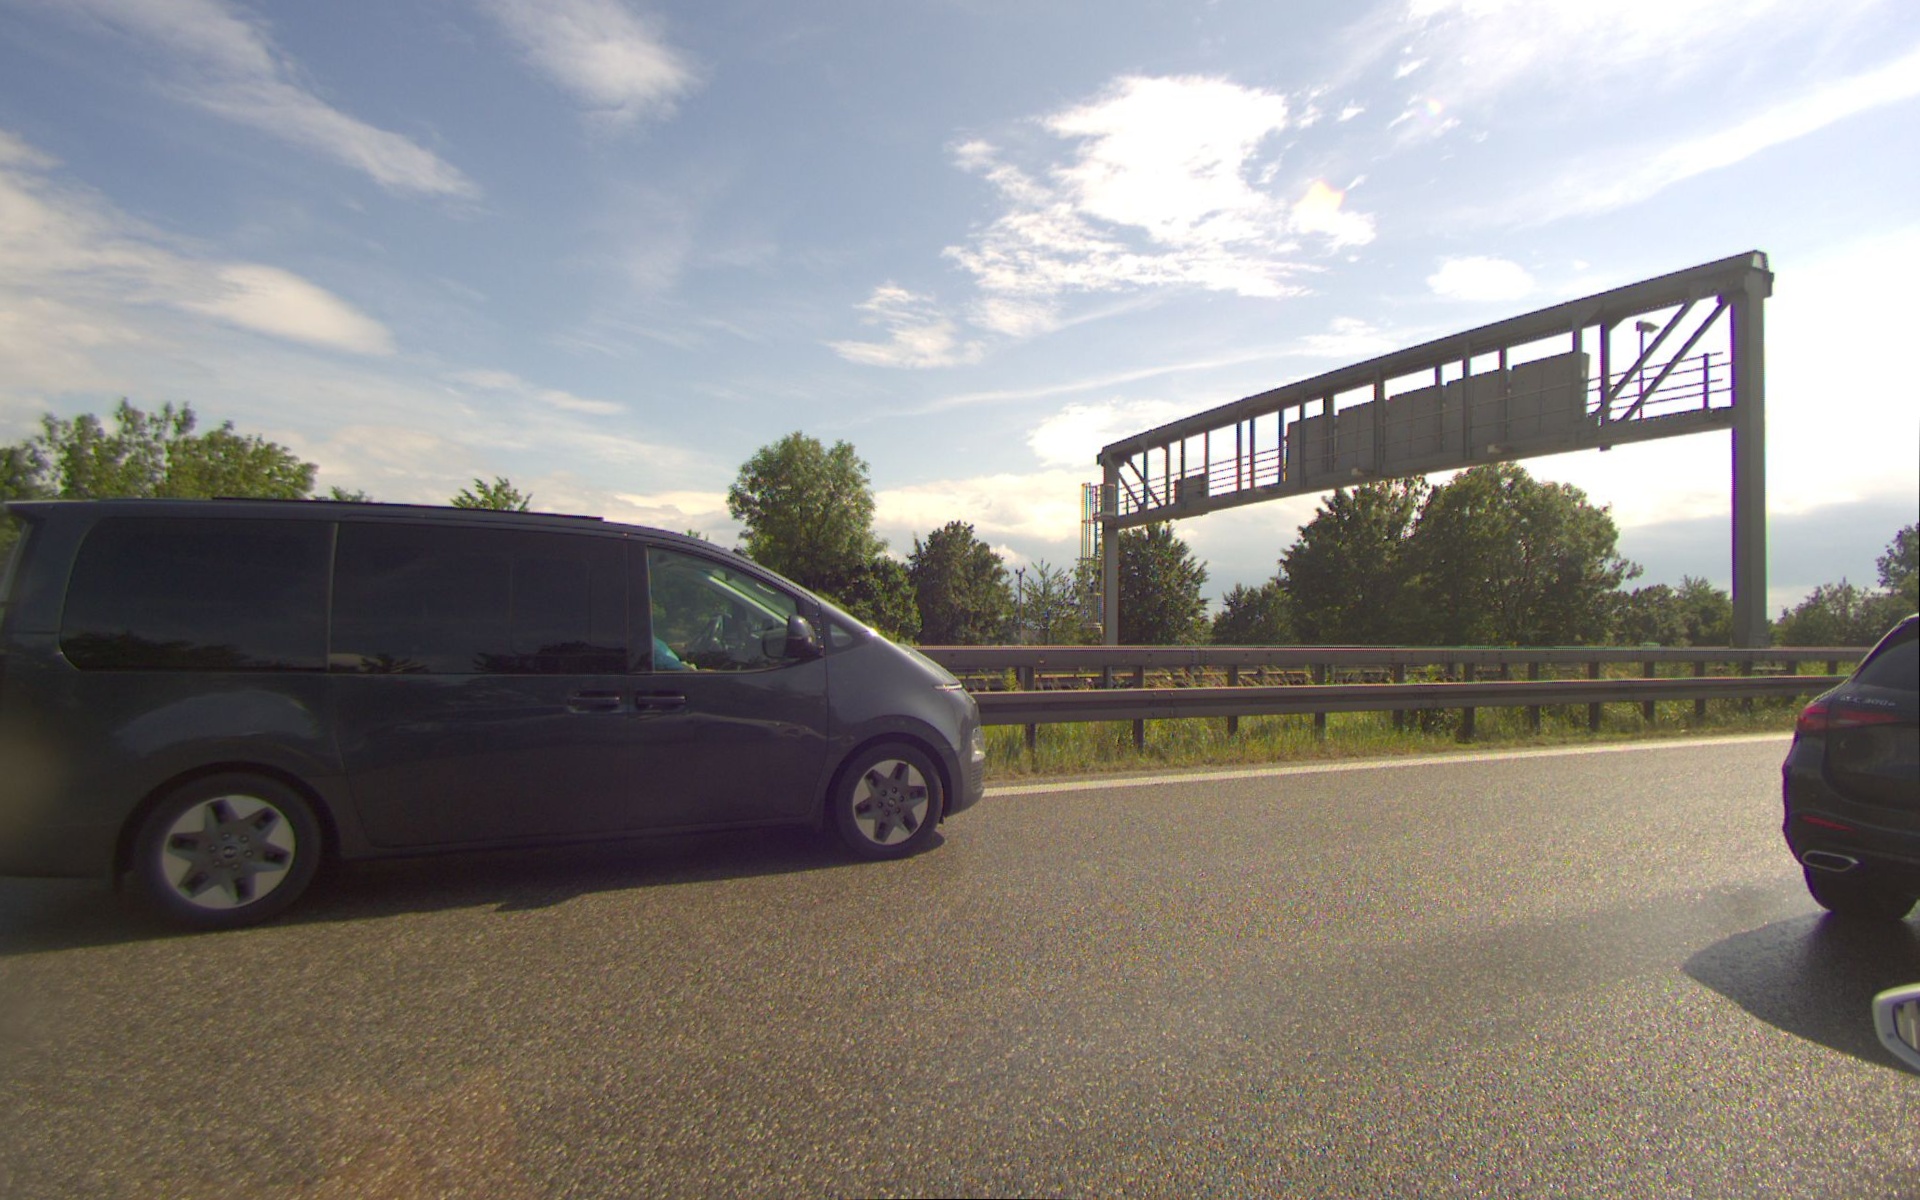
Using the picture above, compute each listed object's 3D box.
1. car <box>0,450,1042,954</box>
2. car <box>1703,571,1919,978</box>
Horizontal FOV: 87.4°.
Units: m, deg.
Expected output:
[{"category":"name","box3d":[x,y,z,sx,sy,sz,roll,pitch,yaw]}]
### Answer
[{"category":"car","box3d":[-2.250,0.469,6.013,5.201,2.040,1.986,1,-1,-27]},{"category":"car","box3d":[6.007,0.778,4.954,4.347,1.683,1.987,2,-1,-26]}]
